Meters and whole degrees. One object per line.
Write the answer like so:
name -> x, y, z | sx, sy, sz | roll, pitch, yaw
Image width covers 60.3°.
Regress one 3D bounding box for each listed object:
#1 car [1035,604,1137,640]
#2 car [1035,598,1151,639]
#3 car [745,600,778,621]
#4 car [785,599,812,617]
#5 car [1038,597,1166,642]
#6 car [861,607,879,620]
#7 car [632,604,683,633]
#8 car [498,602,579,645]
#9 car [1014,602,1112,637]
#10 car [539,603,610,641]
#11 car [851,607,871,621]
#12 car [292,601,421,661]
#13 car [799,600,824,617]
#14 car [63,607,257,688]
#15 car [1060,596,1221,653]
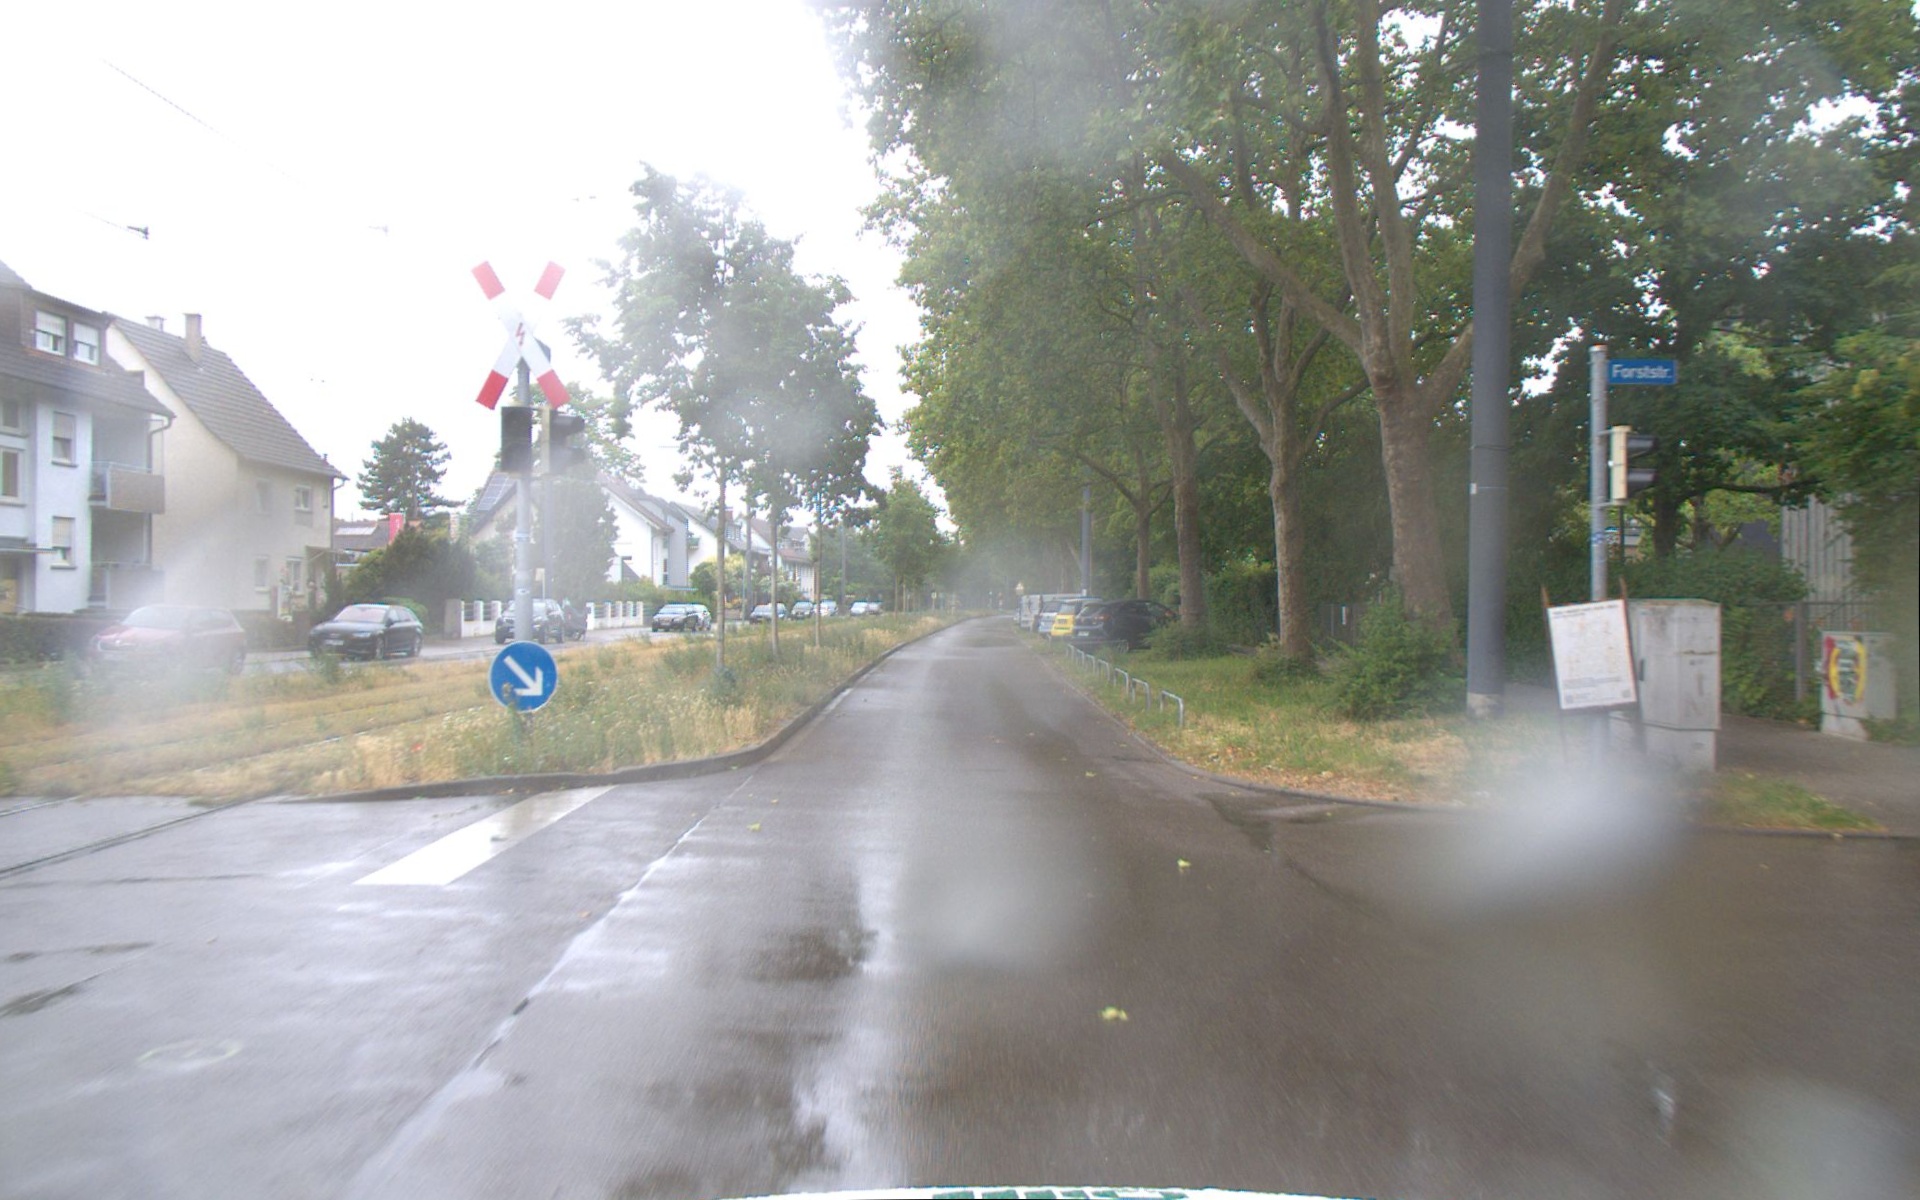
car -> 5.381, 0.952, 70.965 | 3.922, 1.478, 1.991 | 1, -1, -16
car -> 5.009, 0.702, 62.370 | 3.922, 1.478, 1.991 | 1, -1, -16
car -> -14.701, 0.781, 122.720 | 1.888, 1.512, 4.000 | 1, -1, 1
car -> -14.162, 0.712, 144.939 | 1.888, 1.512, 4.000 | 1, -1, 1
car -> 4.850, 0.671, 56.646 | 3.922, 1.478, 1.991 | 1, -1, -16
car -> -10.954, 1.678, 201.099 | 1.888, 1.512, 4.000 | 1, -1, 1
car -> -16.141, 0.986, 88.429 | 1.888, 1.512, 4.000 | 1, -1, 1
car -> -15.698, 0.886, 61.745 | 1.888, 1.512, 4.000 | 1, -1, 1
car -> 4.590, 0.890, 73.587 | 3.922, 1.478, 1.991 | 1, -1, -16
car -> -15.901, 0.899, 68.461 | 1.888, 1.512, 4.000 | 1, -1, 1
car -> -11.174, 1.604, 187.288 | 1.888, 1.512, 4.000 | 1, -1, 1
car -> -16.196, 0.817, 44.594 | 1.888, 1.512, 4.000 | 1, -1, 1
car -> -14.065, 0.841, 157.038 | 1.888, 1.512, 4.000 | 1, -1, 1
car -> -16.122, 0.933, 33.580 | 1.888, 1.512, 4.000 | 1, -1, 1
car -> 4.891, 0.680, 45.109 | 3.922, 1.478, 1.991 | 1, -1, -16
